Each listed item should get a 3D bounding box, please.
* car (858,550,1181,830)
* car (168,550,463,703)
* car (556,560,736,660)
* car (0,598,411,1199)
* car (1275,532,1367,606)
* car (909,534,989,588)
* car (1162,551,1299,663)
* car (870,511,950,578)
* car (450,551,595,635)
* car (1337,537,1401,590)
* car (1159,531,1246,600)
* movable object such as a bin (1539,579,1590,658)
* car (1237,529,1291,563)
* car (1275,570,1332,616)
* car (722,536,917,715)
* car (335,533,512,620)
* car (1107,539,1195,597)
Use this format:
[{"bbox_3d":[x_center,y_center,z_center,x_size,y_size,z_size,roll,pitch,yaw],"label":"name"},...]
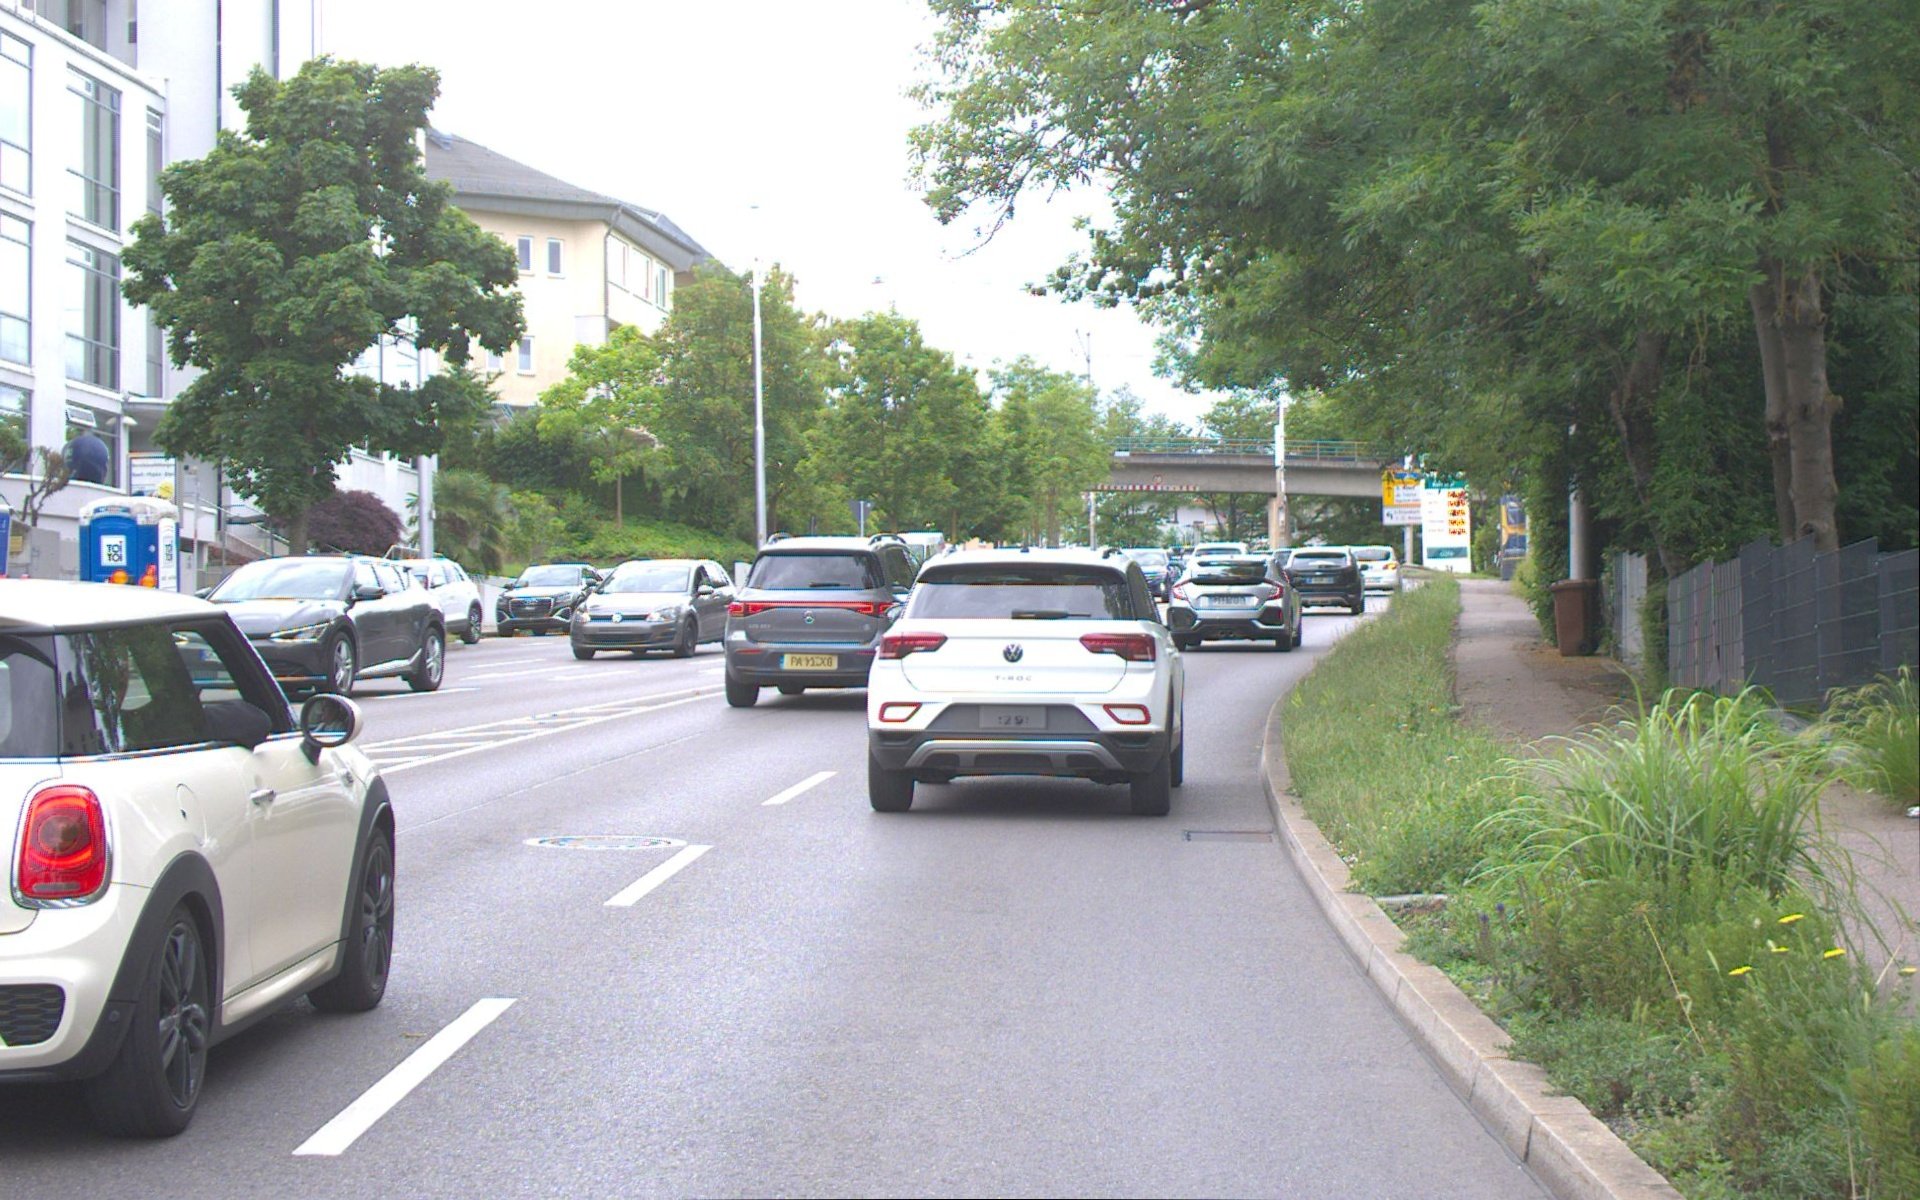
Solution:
[{"bbox_3d":[0.411,0.484,21.225,1.811,1.534,3.689,0,1,2],"label":"car"},{"bbox_3d":[-6.860,0.233,37.071,1.696,1.491,4.485,1,1,9],"label":"car"},{"bbox_3d":[-4.685,0.115,51.934,1.843,1.388,4.283,0,1,7],"label":"car"},{"bbox_3d":[-2.760,0.735,9.955,1.628,1.388,3.566,0,1,2],"label":"car"},{"bbox_3d":[8.075,-0.682,76.565,1.874,1.496,4.554,3,1,7],"label":"car"},{"bbox_3d":[-0.315,-1.241,107.650,2.069,1.651,4.692,0,1,5],"label":"car"},{"bbox_3d":[4.080,0.077,51.485,1.873,1.496,4.554,3,1,5],"label":"car"},{"bbox_3d":[-1.745,-1.994,121.969,2.069,2.298,5.464,0,1,7],"label":"car"},{"bbox_3d":[-8.925,-0.164,70.416,1.771,1.628,3.914,0,1,11],"label":"car"},{"bbox_3d":[12.263,-1.110,103.090,1.858,1.495,4.055,0,1,7],"label":"car"},{"bbox_3d":[6.148,-0.889,86.816,1.858,1.646,4.635,0,1,8],"label":"car"},{"bbox_3d":[7.402,0.221,42.123,0.555,0.944,0.567,1,1,5],"label":"movable object such as a bin"},{"bbox_3d":[13.523,-2.409,153.015,1.858,1.495,4.056,0,1,-2],"label":"car"},{"bbox_3d":[12.029,-0.261,120.362,1.858,1.495,4.055,0,1,7],"label":"car"},{"bbox_3d":[-1.408,0.195,34.596,1.812,1.646,4.637,0,1,-2],"label":"car"},{"bbox_3d":[-9.600,-0.458,61.829,1.771,1.493,4.303,0,1,11],"label":"car"},{"bbox_3d":[5.449,-0.929,97.650,1.771,1.591,5.181,0,1,11],"label":"car"}]
